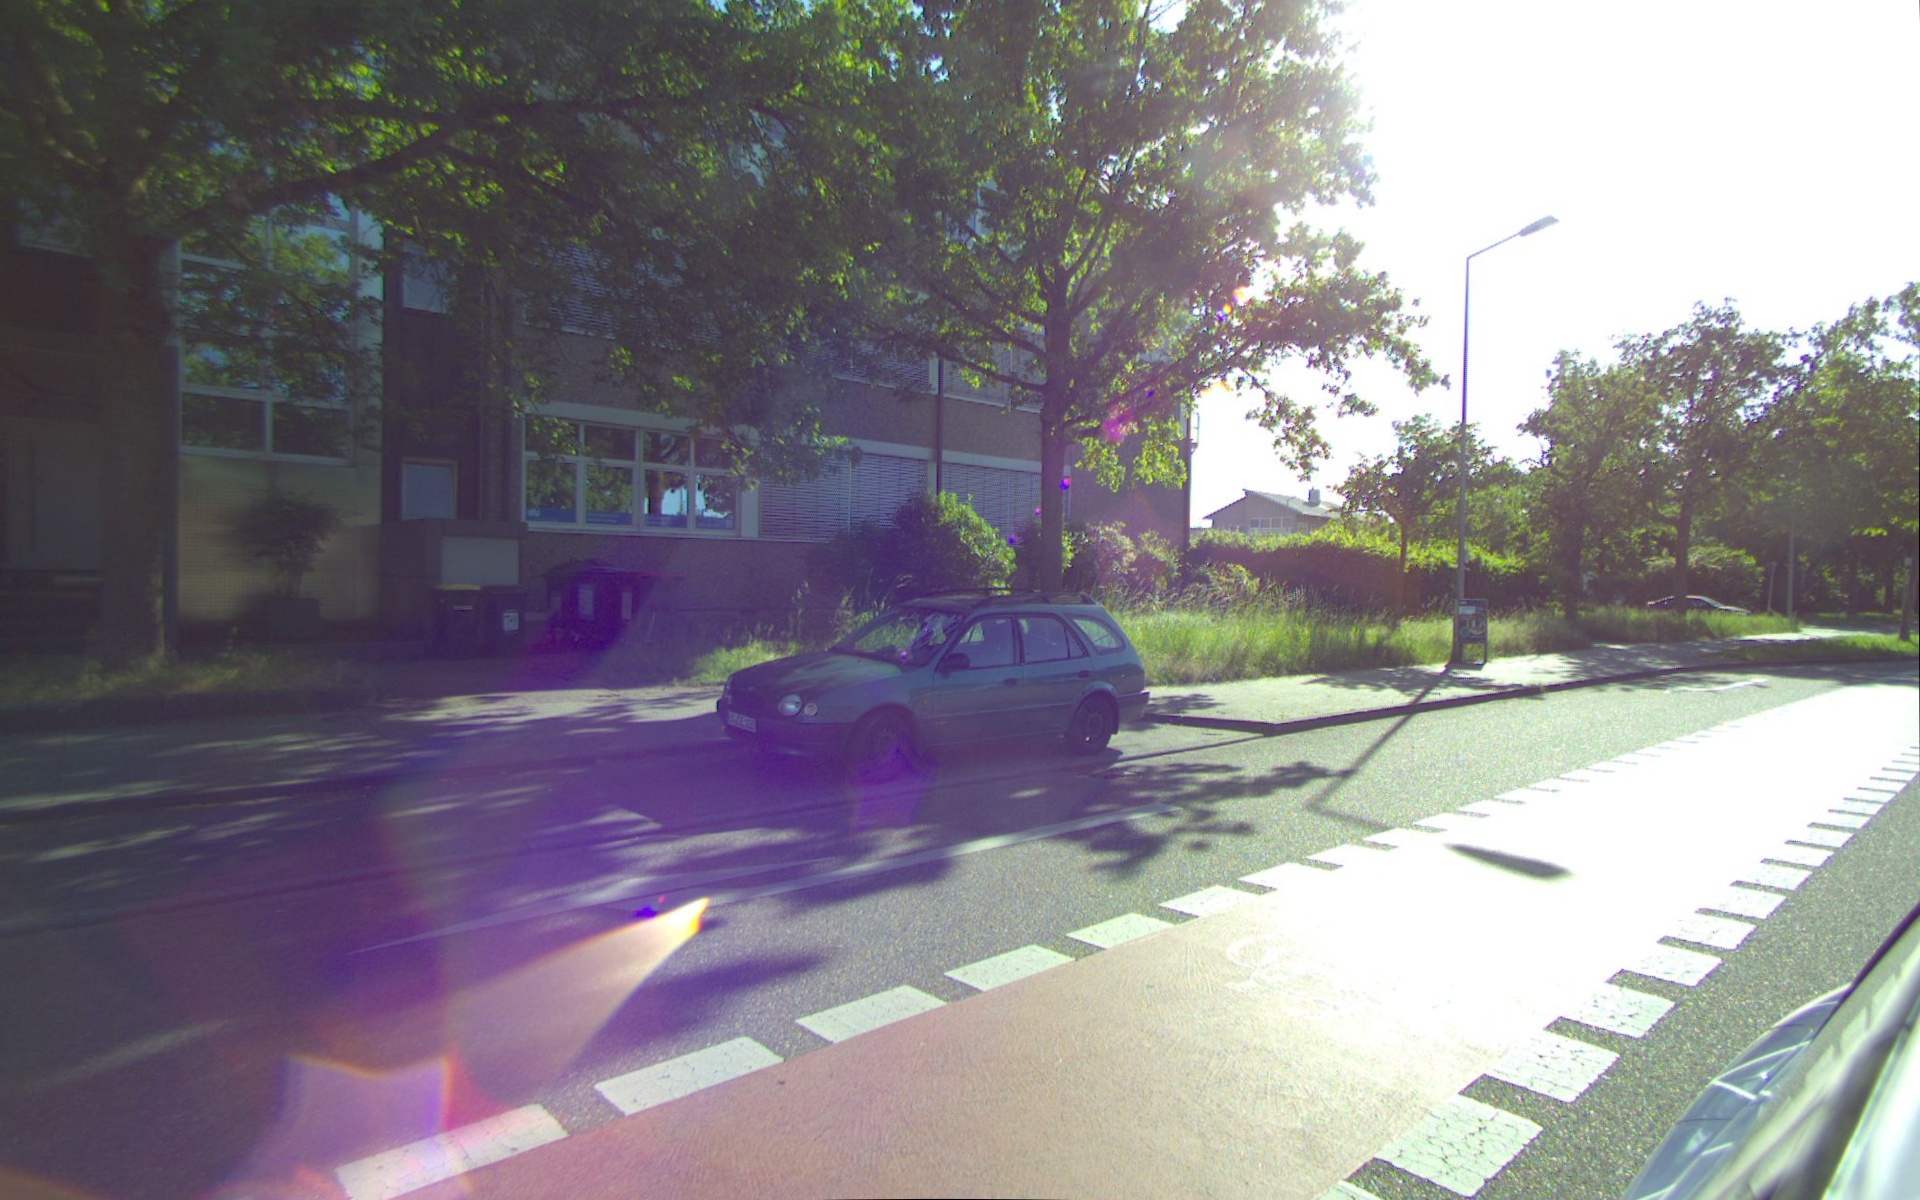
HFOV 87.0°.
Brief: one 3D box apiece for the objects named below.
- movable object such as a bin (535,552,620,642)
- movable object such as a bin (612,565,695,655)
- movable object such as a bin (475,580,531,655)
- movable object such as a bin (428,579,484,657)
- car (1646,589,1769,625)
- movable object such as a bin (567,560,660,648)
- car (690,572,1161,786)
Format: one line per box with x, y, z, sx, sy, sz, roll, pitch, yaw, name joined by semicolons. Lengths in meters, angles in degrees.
-6.784;-0.075;17.934;1.024;1.501;1.309;0;2;-41;movable object such as a bin
-4.785;0.123;15.766;0.878;1.323;1.186;0;2;-37;movable object such as a bin
-6.762;0.238;14.971;0.604;1.075;0.634;0;1;-42;movable object such as a bin
-7.218;0.243;14.490;0.575;1.070;0.625;0;1;-42;movable object such as a bin
36.585;0.300;49.670;1.859;1.538;4.495;0;2;-29;car
-5.775;0.041;16.854;1.070;1.388;1.186;0;2;-43;movable object such as a bin
-0.149;0.572;9.125;4.068;1.487;1.705;1;1;-41;car
